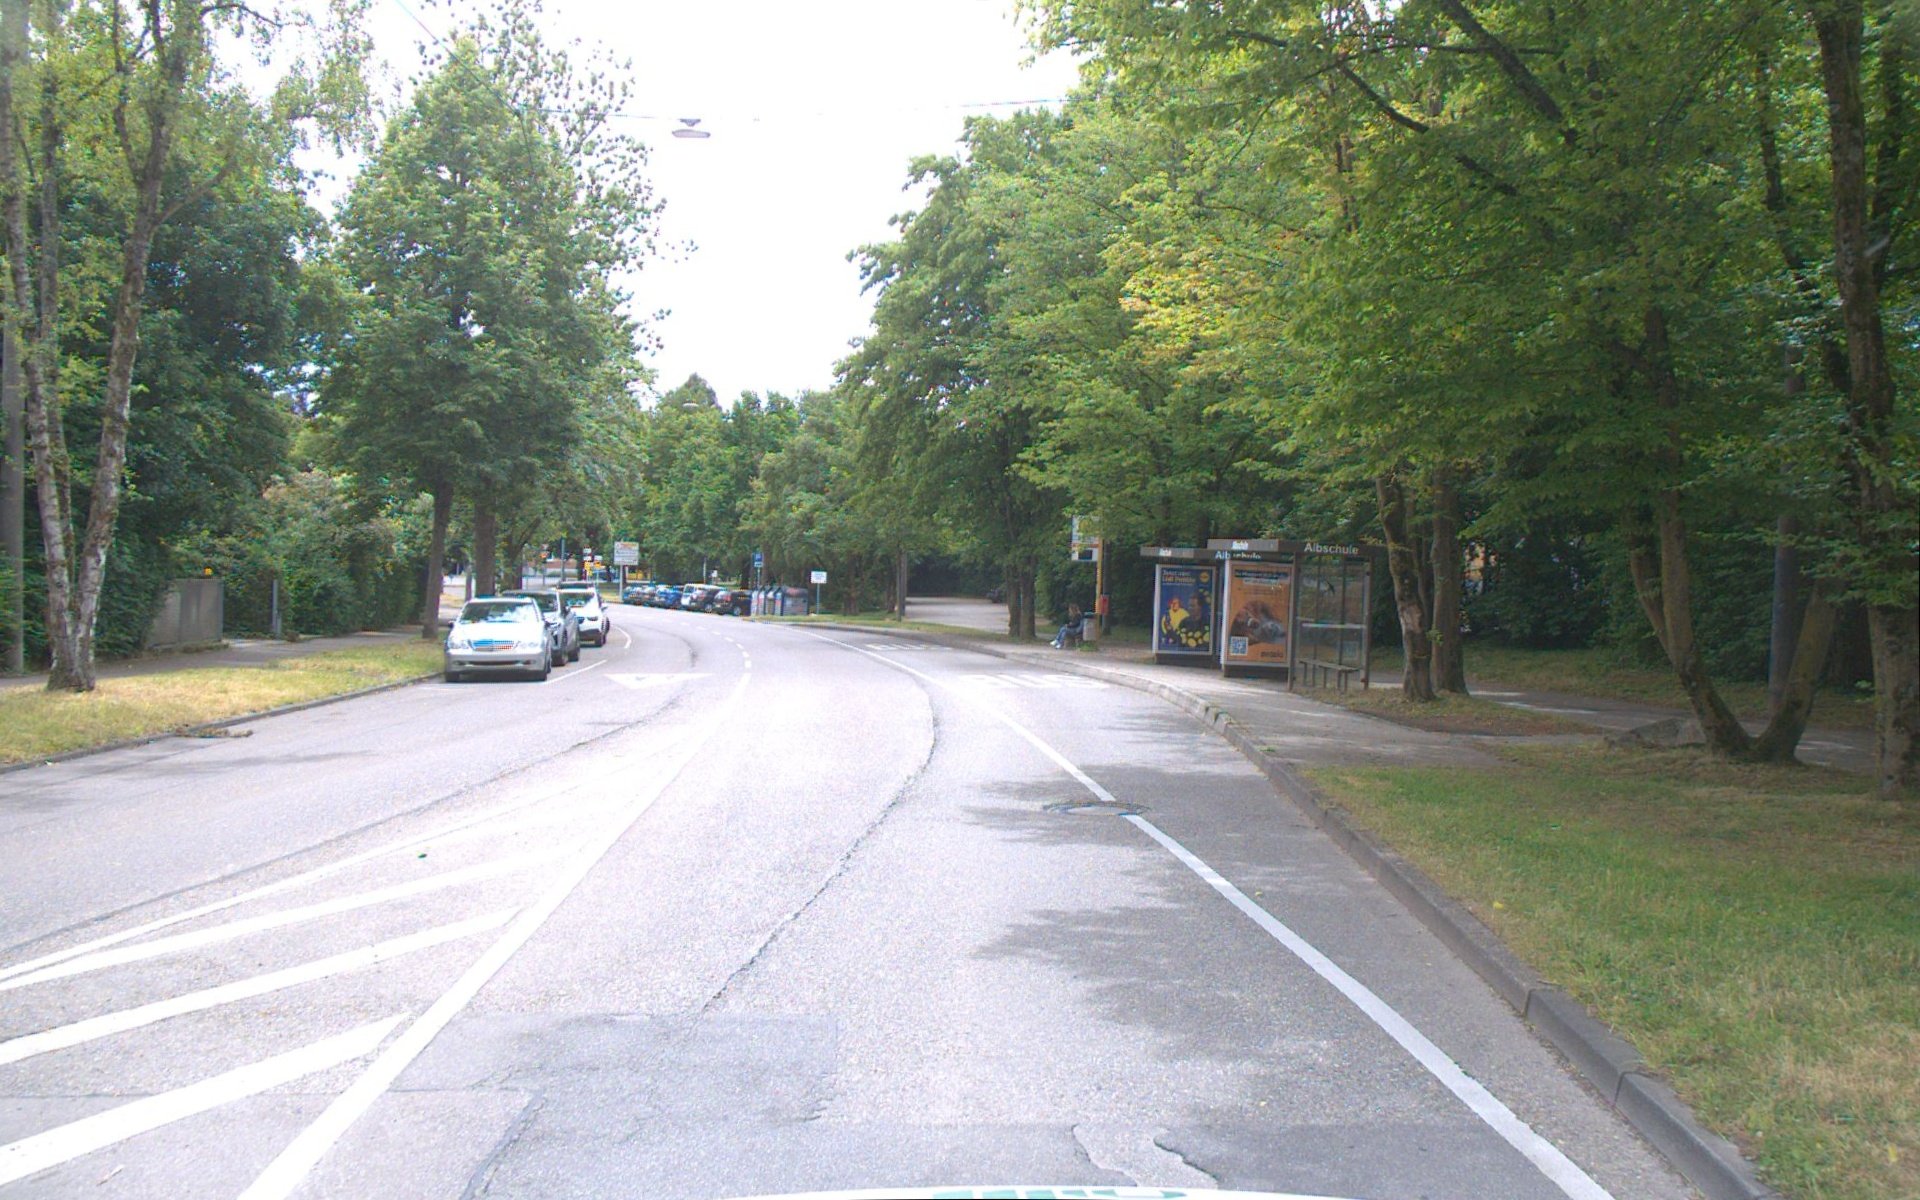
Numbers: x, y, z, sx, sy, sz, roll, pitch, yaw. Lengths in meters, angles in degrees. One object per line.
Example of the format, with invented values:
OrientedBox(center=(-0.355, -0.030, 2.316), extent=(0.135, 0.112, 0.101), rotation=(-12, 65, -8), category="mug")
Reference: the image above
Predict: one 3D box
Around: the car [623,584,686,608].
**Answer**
OrientedBox(center=(-20.977, -0.258, 113.587), extent=(3.850, 1.451, 1.803), rotation=(4, -2, -41), category="car")

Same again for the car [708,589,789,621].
OrientedBox(center=(-11.688, 0.271, 91.537), extent=(3.963, 1.438, 2.028), rotation=(4, 0, -41), category="car")

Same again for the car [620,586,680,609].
OrientedBox(center=(-22.156, -0.186, 118.234), extent=(3.796, 1.450, 1.721), rotation=(4, -2, -41), category="car")

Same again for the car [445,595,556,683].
OrientedBox(center=(-8.216, 0.637, 29.863), extent=(1.705, 1.441, 4.457), rotation=(0, 0, -13), category="car")

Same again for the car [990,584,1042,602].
OrientedBox(center=(4.590, -0.590, 135.412), extent=(3.921, 1.434, 1.793), rotation=(0, 0, -16), category="car")

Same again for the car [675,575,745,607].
OrientedBox(center=(-15.427, -0.555, 102.089), extent=(3.796, 1.750, 1.851), rotation=(4, -2, -41), category="car")

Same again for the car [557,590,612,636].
OrientedBox(center=(-13.285, 0.450, 58.605), extent=(1.834, 1.565, 4.213), rotation=(0, 0, -13), category="car")

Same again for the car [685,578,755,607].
OrientedBox(center=(-14.400, -0.440, 99.507), extent=(3.796, 1.493, 1.721), rotation=(4, -1, -41), category="car")

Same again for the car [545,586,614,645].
OrientedBox(center=(-10.863, 0.416, 47.431), extent=(1.704, 1.606, 4.132), rotation=(0, 0, -10), category="car")

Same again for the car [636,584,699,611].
OrientedBox(center=(-19.562, -0.169, 110.750), extent=(3.796, 1.555, 1.721), rotation=(4, -2, -41), category="car")

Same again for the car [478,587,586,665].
OrientedBox(center=(-9.172, 0.514, 35.759), extent=(1.702, 1.565, 4.183), rotation=(0, 0, -7), category="car")

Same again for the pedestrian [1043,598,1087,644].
OrientedBox(center=(2.822, 0.562, 44.480), extent=(1.045, 1.203, 0.578), rotation=(0, 0, -13), category="pedestrian")

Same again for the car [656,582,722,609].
OrientedBox(center=(-17.436, -0.278, 106.412), extent=(3.796, 1.555, 1.721), rotation=(4, -2, -41), category="car")
